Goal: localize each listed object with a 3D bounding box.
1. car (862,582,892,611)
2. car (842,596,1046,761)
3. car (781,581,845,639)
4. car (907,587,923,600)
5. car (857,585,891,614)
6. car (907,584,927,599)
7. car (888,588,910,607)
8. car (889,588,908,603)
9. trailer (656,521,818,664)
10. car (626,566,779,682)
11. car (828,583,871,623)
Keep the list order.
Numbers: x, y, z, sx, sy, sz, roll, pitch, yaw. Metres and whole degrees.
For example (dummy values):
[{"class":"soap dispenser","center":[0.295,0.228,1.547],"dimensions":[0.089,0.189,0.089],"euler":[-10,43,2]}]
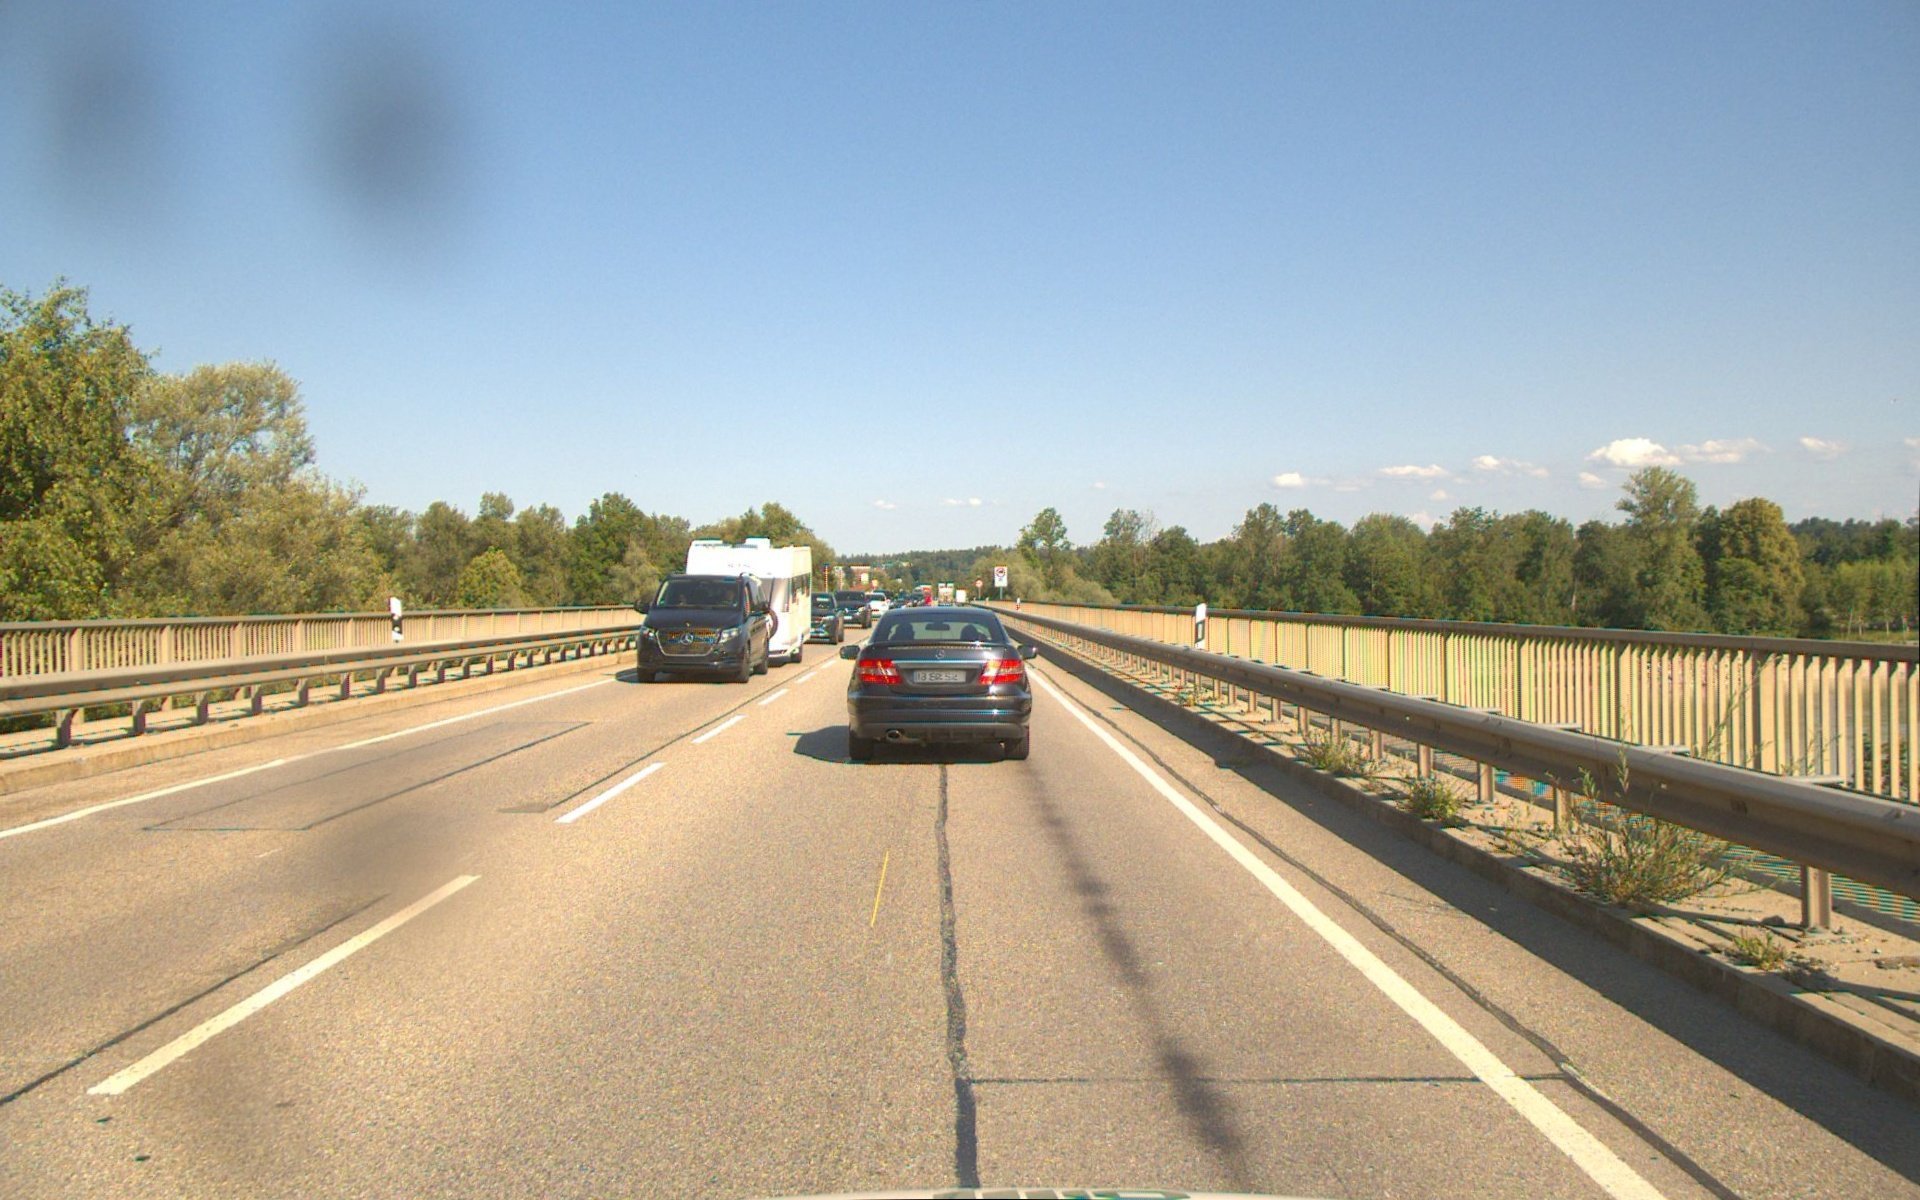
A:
[{"class":"car","center":[-5.835,-0.275,115.962],"dimensions":[1.997,1.906,5.066],"euler":[1,1,-4]},{"class":"car","center":[-0.149,0.669,16.273],"dimensions":[1.757,1.400,4.000],"euler":[0,0,-1]},{"class":"car","center":[-4.616,0.279,52.328],"dimensions":[1.766,1.690,4.431],"euler":[1,1,-2]},{"class":"car","center":[-5.651,-0.782,206.874],"dimensions":[1.771,1.605,4.198],"euler":[-1,0,-4]},{"class":"car","center":[-5.278,-0.064,101.734],"dimensions":[1.943,1.680,4.597],"euler":[1,1,-1]},{"class":"car","center":[-4.996,-1.001,190.976],"dimensions":[2.013,1.681,4.718],"euler":[1,1,-4]},{"class":"car","center":[-5.025,-0.231,136.094],"dimensions":[1.730,1.472,4.453],"euler":[0,0,-4]},{"class":"car","center":[-6.110,-0.466,163.872],"dimensions":[1.830,1.469,4.453],"euler":[0,0,-4]},{"class":"trailer","center":[-4.713,-0.194,36.423],"dimensions":[2.503,2.785,8.062],"euler":[0,1,0]},{"class":"car","center":[-4.535,0.377,29.902],"dimensions":[1.942,1.886,5.008],"euler":[-1,0,0]},{"class":"car","center":[-5.050,0.098,75.665],"dimensions":[1.910,1.723,4.474],"euler":[1,1,-4]}]
